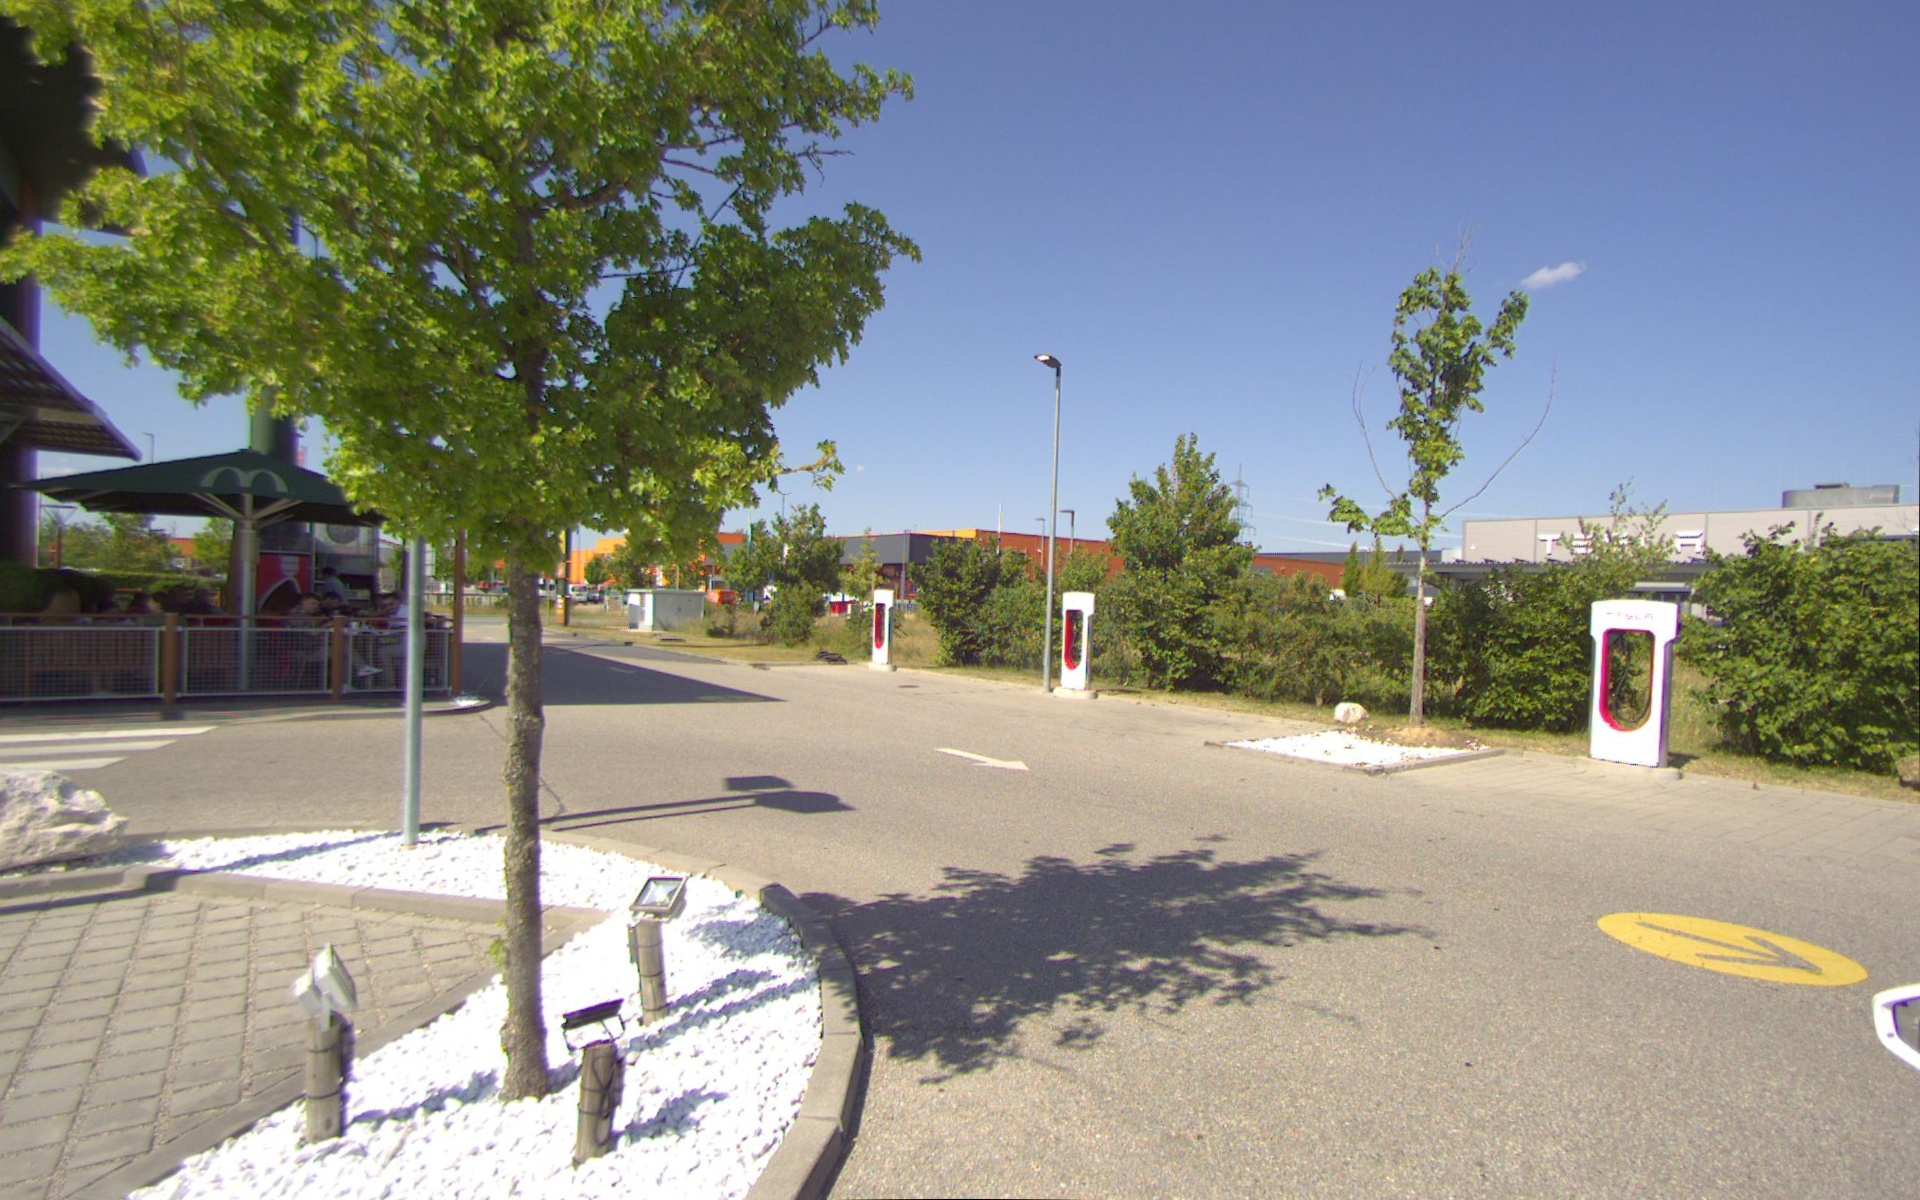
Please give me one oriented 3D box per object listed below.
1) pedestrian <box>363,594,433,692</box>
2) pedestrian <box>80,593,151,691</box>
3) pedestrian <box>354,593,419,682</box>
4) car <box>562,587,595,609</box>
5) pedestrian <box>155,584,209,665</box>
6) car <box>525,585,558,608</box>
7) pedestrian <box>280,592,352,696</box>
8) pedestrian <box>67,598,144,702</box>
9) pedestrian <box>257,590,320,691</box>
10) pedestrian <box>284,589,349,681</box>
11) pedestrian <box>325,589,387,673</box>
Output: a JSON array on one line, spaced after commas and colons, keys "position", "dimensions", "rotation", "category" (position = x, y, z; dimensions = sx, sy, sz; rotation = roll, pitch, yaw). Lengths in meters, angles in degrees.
[{"position": [-7.589, 0.565, 13.563], "dimensions": [0.724, 1.275, 0.566], "rotation": [1, 0, -40], "category": "pedestrian"}, {"position": [-10.170, 0.500, 12.114], "dimensions": [0.629, 1.139, 0.518], "rotation": [1, 0, -39], "category": "pedestrian"}, {"position": [-8.431, 0.540, 14.758], "dimensions": [0.724, 1.275, 0.566], "rotation": [1, 0, -40], "category": "pedestrian"}, {"position": [-36.209, -0.187, 95.177], "dimensions": [1.980, 2.040, 3.961], "rotation": [2, -1, -35], "category": "car"}, {"position": [-11.065, 0.339, 14.293], "dimensions": [0.568, 1.115, 0.650], "rotation": [1, 0, -36], "category": "pedestrian"}, {"position": [-38.693, -0.309, 92.901], "dimensions": [1.980, 2.040, 3.961], "rotation": [2, -1, -35], "category": "car"}, {"position": [-8.219, 0.550, 12.815], "dimensions": [0.710, 1.275, 0.518], "rotation": [1, 0, -39], "category": "pedestrian"}, {"position": [-9.726, 0.551, 11.449], "dimensions": [0.629, 1.139, 0.518], "rotation": [1, 0, -39], "category": "pedestrian"}, {"position": [-8.759, 0.514, 13.103], "dimensions": [0.629, 1.275, 0.518], "rotation": [1, 0, -39], "category": "pedestrian"}, {"position": [-9.152, 0.487, 14.290], "dimensions": [0.710, 1.275, 0.518], "rotation": [1, 0, -39], "category": "pedestrian"}, {"position": [-9.382, 0.472, 15.603], "dimensions": [0.724, 1.275, 0.566], "rotation": [1, 0, -40], "category": "pedestrian"}]
